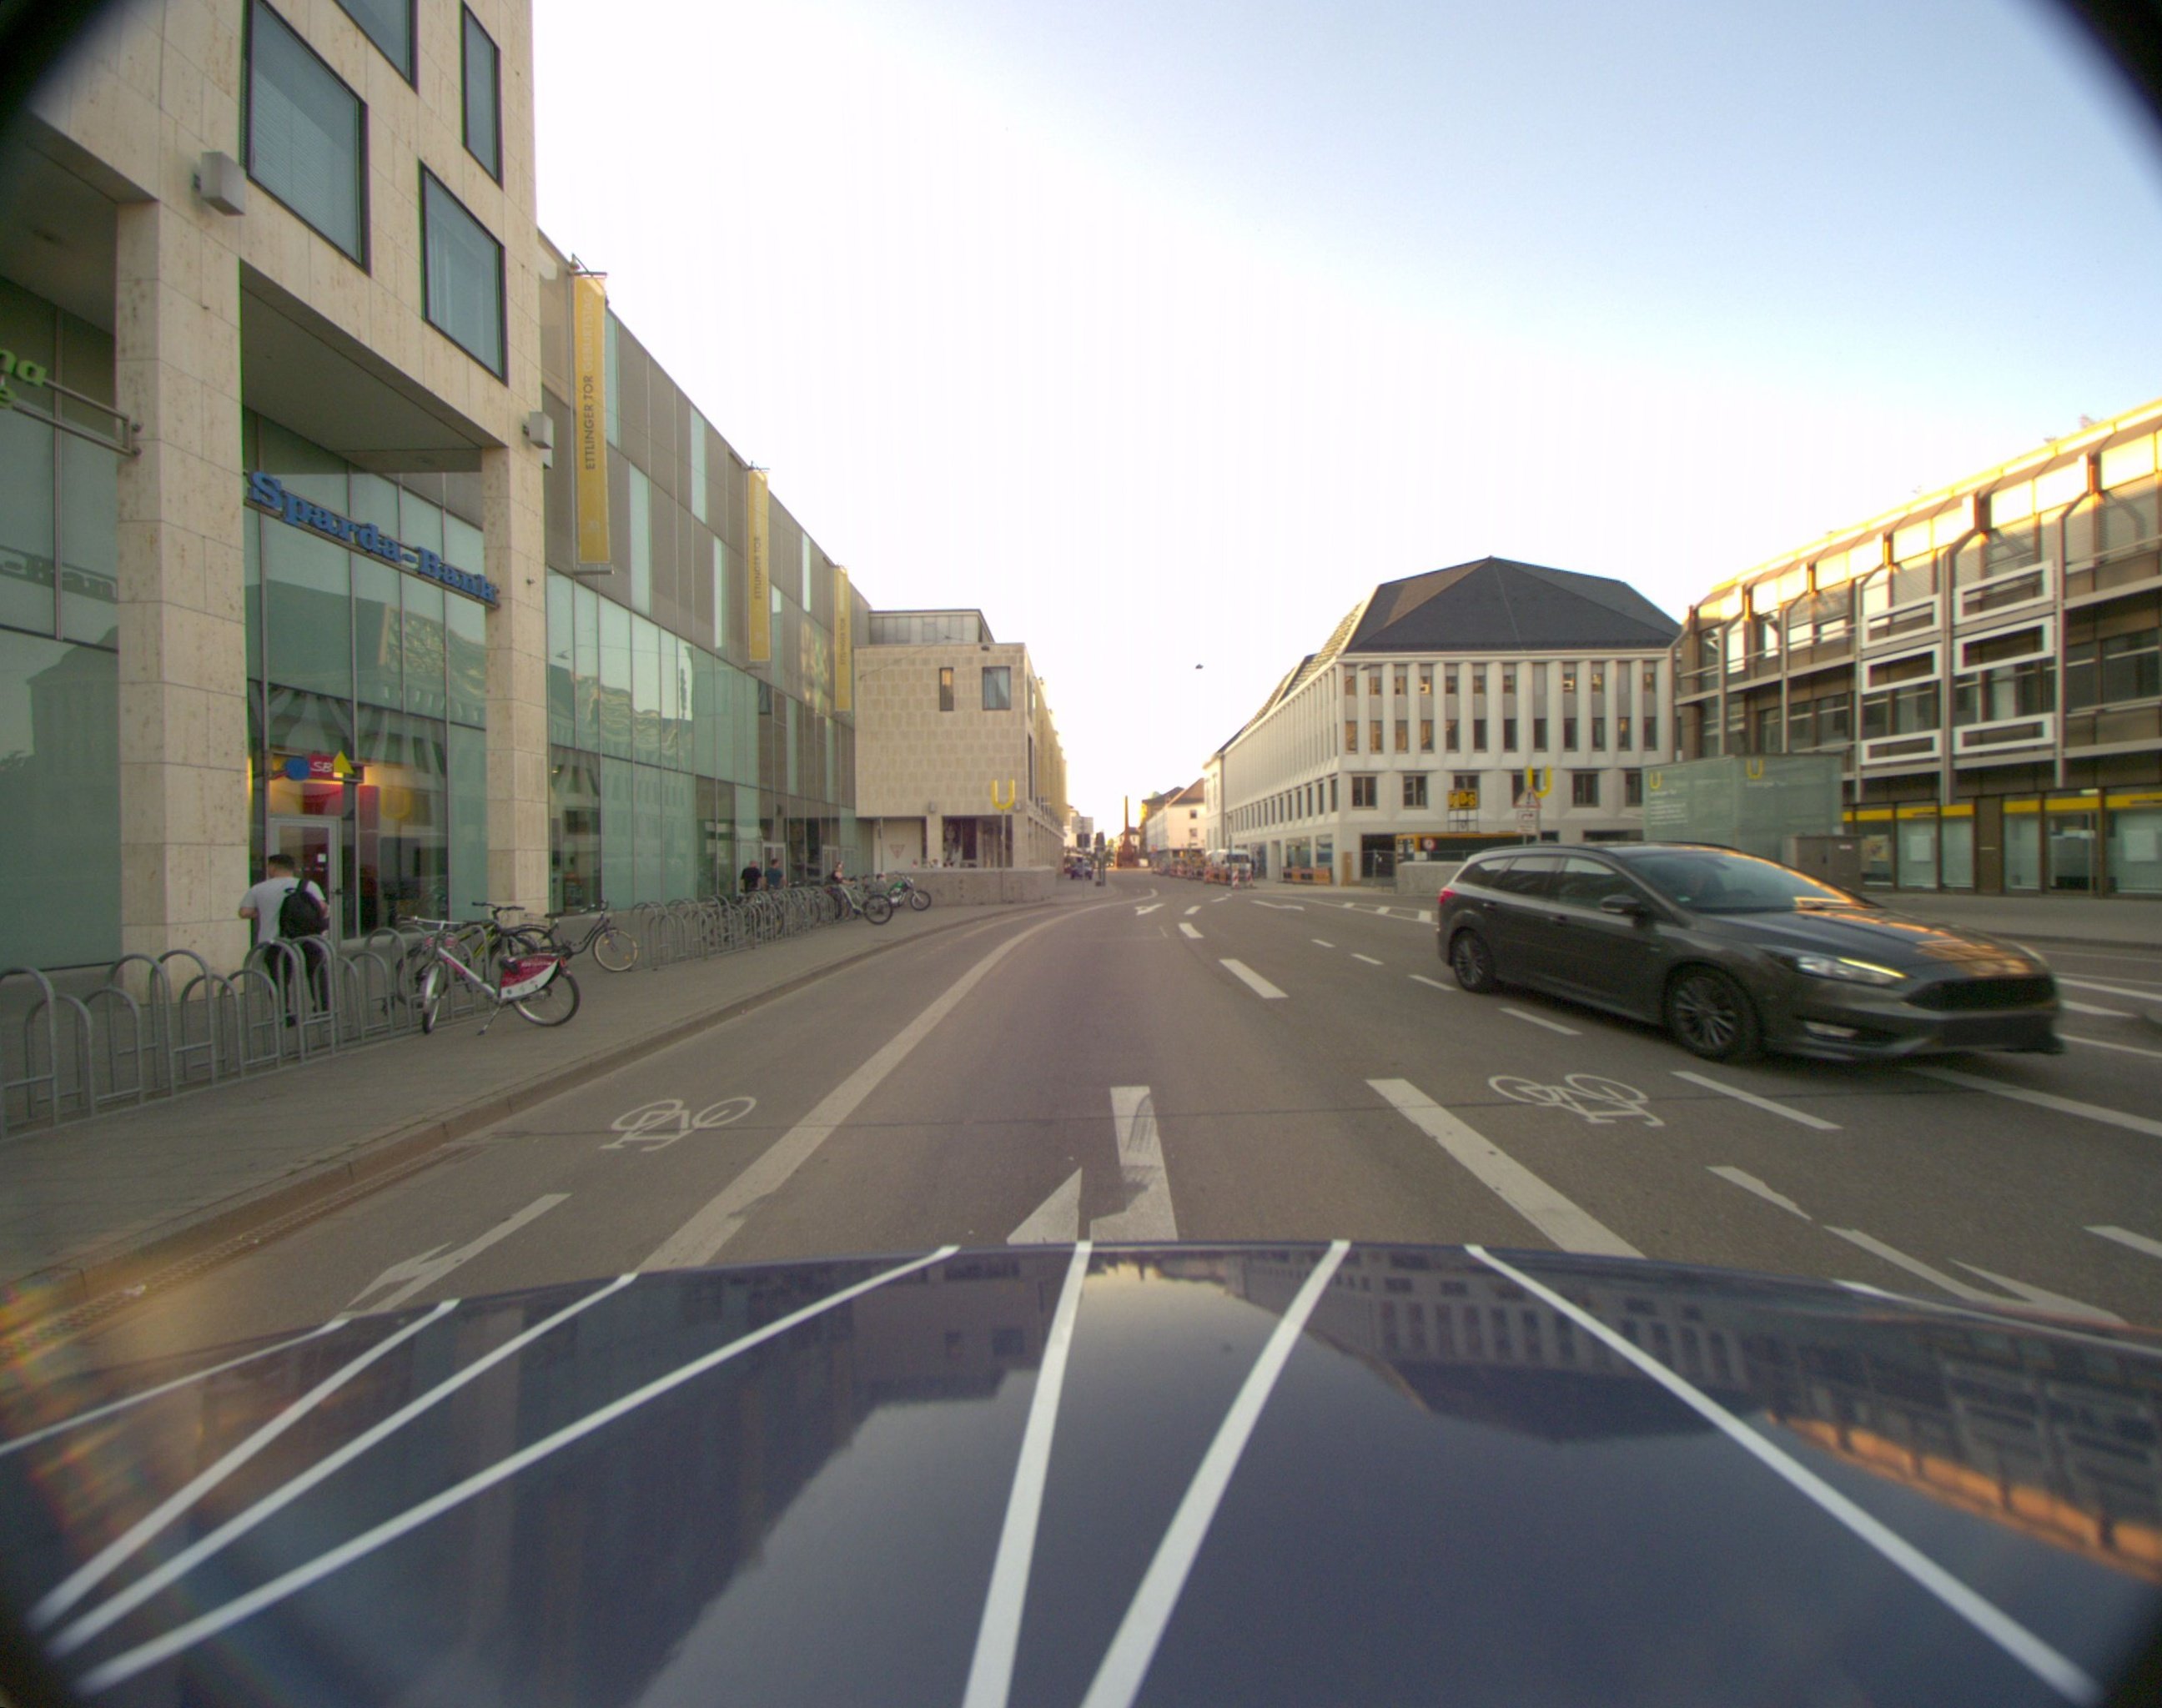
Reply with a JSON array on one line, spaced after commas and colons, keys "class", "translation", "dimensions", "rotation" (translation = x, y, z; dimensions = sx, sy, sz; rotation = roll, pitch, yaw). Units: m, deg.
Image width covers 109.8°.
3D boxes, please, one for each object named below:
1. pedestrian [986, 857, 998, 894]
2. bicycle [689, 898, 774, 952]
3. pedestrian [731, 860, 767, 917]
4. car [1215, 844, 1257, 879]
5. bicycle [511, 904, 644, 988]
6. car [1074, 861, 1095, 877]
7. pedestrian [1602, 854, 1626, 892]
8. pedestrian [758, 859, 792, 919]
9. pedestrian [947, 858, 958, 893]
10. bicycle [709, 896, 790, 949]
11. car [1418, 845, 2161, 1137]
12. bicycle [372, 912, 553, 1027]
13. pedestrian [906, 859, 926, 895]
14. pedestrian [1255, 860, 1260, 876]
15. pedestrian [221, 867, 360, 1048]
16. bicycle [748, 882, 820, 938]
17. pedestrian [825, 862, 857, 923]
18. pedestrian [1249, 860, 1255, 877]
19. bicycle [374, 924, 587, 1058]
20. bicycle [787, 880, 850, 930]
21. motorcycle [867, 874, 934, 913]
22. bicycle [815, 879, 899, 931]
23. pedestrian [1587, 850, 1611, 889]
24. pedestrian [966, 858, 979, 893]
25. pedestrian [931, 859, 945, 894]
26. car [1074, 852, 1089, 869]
[{"class": "pedestrian", "translation": [-4.275, 1.018, 36.480], "dimensions": [0.454, 1.733, 0.493], "rotation": [-1, 0, 3]}, {"class": "bicycle", "translation": [-6.652, 1.346, 14.499], "dimensions": [1.345, 0.927, 0.518], "rotation": [-3, 0, -1]}, {"class": "pedestrian", "translation": [-9.709, 0.988, 22.255], "dimensions": [0.741, 1.638, 0.820], "rotation": [-1, 0, -7]}, {"class": "car", "translation": [11.990, 0.594, 59.158], "dimensions": [2.141, 2.540, 6.050], "rotation": [-1, 0, 1]}, {"class": "bicycle", "translation": [-7.300, 1.317, 11.068], "dimensions": [1.447, 1.058, 0.580], "rotation": [-3, 0, -10]}, {"class": "car", "translation": [0.342, 1.301, 67.871], "dimensions": [1.798, 1.365, 3.671], "rotation": [-1, 0, 2]}, {"class": "pedestrian", "translation": [20.818, 0.742, 29.682], "dimensions": [0.532, 1.487, 0.555], "rotation": [-1, 0, 1]}, {"class": "pedestrian", "translation": [-8.887, 0.999, 22.080], "dimensions": [0.698, 1.686, 0.820], "rotation": [-1, 0, -7]}, {"class": "pedestrian", "translation": [-6.508, 1.086, 38.538], "dimensions": [0.454, 1.733, 0.493], "rotation": [-1, 0, 3]}, {"class": "bicycle", "translation": [-6.594, 1.355, 15.145], "dimensions": [1.345, 0.927, 0.518], "rotation": [-3, 0, -1]}, {"class": "car", "translation": [4.783, 0.734, 6.218], "dimensions": [1.763, 1.454, 4.378], "rotation": [-2, 0, -5]}, {"class": "bicycle", "translation": [-6.796, 1.260, 8.388], "dimensions": [1.518, 1.117, 0.581], "rotation": [-3, 0, 4]}, {"class": "pedestrian", "translation": [-8.134, 1.137, 37.554], "dimensions": [0.793, 1.733, 0.657], "rotation": [-1, 0, 3]}, {"class": "pedestrian", "translation": [14.132, 1.137, 60.800], "dimensions": [0.350, 1.308, 0.338], "rotation": [-1, 0, 1]}, {"class": "pedestrian", "translation": [-7.719, 0.972, 7.443], "dimensions": [0.707, 1.682, 0.630], "rotation": [-1, 0, 10]}, {"class": "bicycle", "translation": [-6.657, 1.240, 17.073], "dimensions": [1.345, 1.157, 0.518], "rotation": [-3, 0, -1]}, {"class": "pedestrian", "translation": [-6.665, 1.054, 21.117], "dimensions": [0.809, 1.633, 0.646], "rotation": [-1, 0, -18]}, {"class": "pedestrian", "translation": [13.674, 1.154, 60.817], "dimensions": [0.350, 1.308, 0.338], "rotation": [-1, 0, 1]}, {"class": "bicycle", "translation": [-5.396, 1.221, 6.862], "dimensions": [1.518, 1.057, 0.466], "rotation": [-3, 0, 1]}, {"class": "bicycle", "translation": [-6.601, 1.267, 19.159], "dimensions": [1.345, 1.157, 0.518], "rotation": [-3, 0, -1]}, {"class": "motorcycle", "translation": [-5.707, 1.244, 24.080], "dimensions": [2.007, 1.217, 0.480], "rotation": [-1, 0, -2]}, {"class": "bicycle", "translation": [-5.386, 1.221, 18.315], "dimensions": [1.838, 1.140, 0.466], "rotation": [-3, 0, 1]}, {"class": "pedestrian", "translation": [20.129, 0.604, 29.542], "dimensions": [0.532, 1.487, 0.555], "rotation": [-1, 0, 1]}, {"class": "pedestrian", "translation": [-5.406, 1.059, 37.861], "dimensions": [0.504, 1.733, 0.493], "rotation": [-1, 0, 3]}, {"class": "pedestrian", "translation": [-7.048, 1.096, 37.527], "dimensions": [0.494, 1.733, 0.657], "rotation": [-1, 0, 3]}, {"class": "car", "translation": [0.137, 0.845, 100.203], "dimensions": [1.798, 2.198, 3.671], "rotation": [-1, 0, 2]}]
